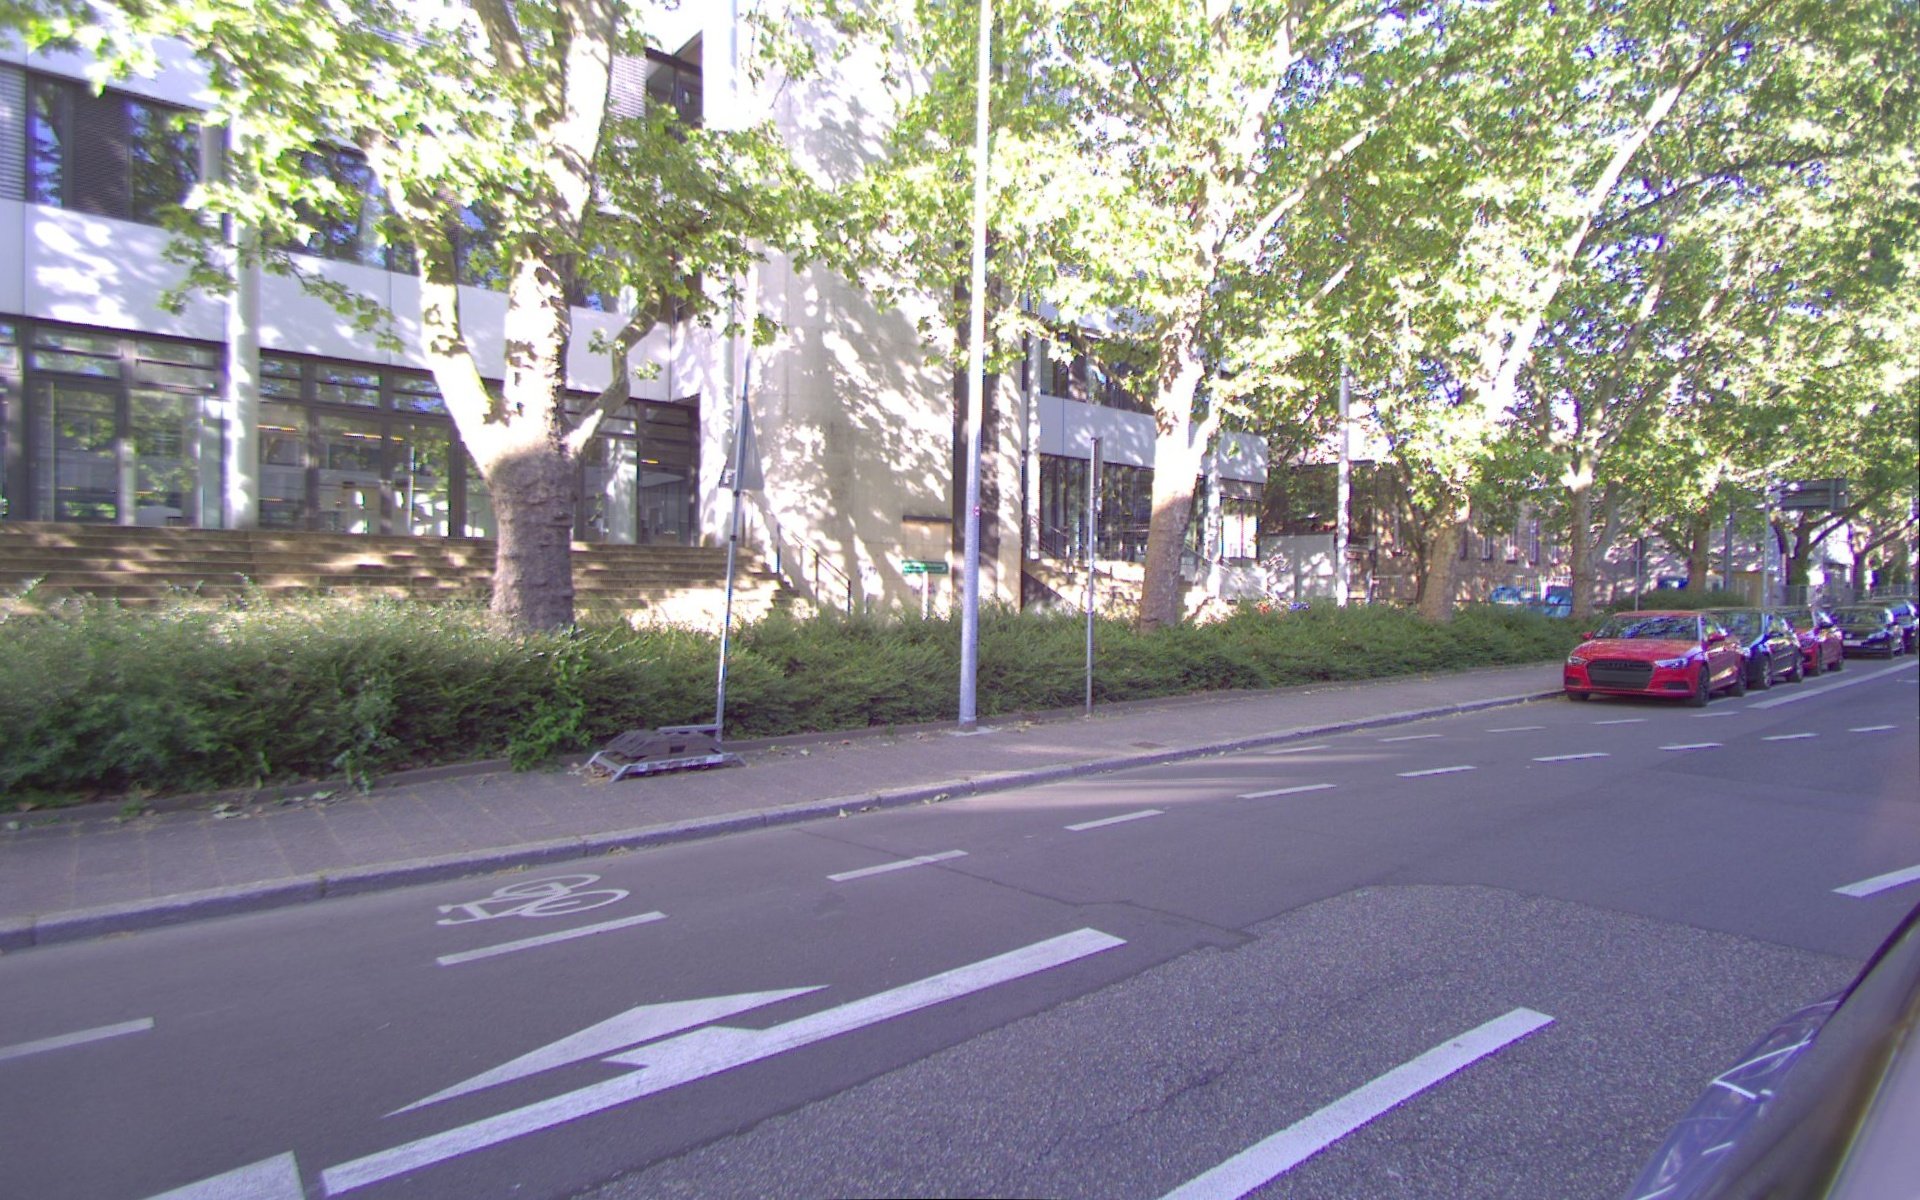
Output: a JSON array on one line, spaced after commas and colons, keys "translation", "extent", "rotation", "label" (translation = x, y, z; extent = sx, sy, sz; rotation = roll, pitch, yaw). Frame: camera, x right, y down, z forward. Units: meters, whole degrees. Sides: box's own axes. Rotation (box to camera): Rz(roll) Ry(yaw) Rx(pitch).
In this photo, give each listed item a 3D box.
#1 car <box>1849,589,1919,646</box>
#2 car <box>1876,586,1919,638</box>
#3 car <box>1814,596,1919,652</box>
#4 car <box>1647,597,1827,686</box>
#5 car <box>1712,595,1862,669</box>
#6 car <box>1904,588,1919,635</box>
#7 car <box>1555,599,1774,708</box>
[{"translation": [29.569, 0.514, 31.812], "extent": [4.403, 1.689, 1.865], "rotation": [0, 0, -41], "label": "car"}, {"translation": [33.906, 0.394, 35.703], "extent": [4.403, 1.781, 1.865], "rotation": [0, 0, -41], "label": "car"}, {"translation": [25.789, 0.621, 28.617], "extent": [4.403, 1.469, 1.865], "rotation": [0, 0, -41], "label": "car"}, {"translation": [14.766, 0.693, 19.145], "extent": [4.403, 1.469, 1.865], "rotation": [0, 0, -41], "label": "car"}, {"translation": [18.434, 0.638, 22.483], "extent": [4.403, 1.469, 1.865], "rotation": [0, 0, -41], "label": "car"}, {"translation": [38.872, 0.443, 39.973], "extent": [4.403, 1.781, 1.865], "rotation": [0, 0, -41], "label": "car"}, {"translation": [11.319, 0.740, 16.144], "extent": [4.403, 1.469, 1.865], "rotation": [0, 0, -41], "label": "car"}]
